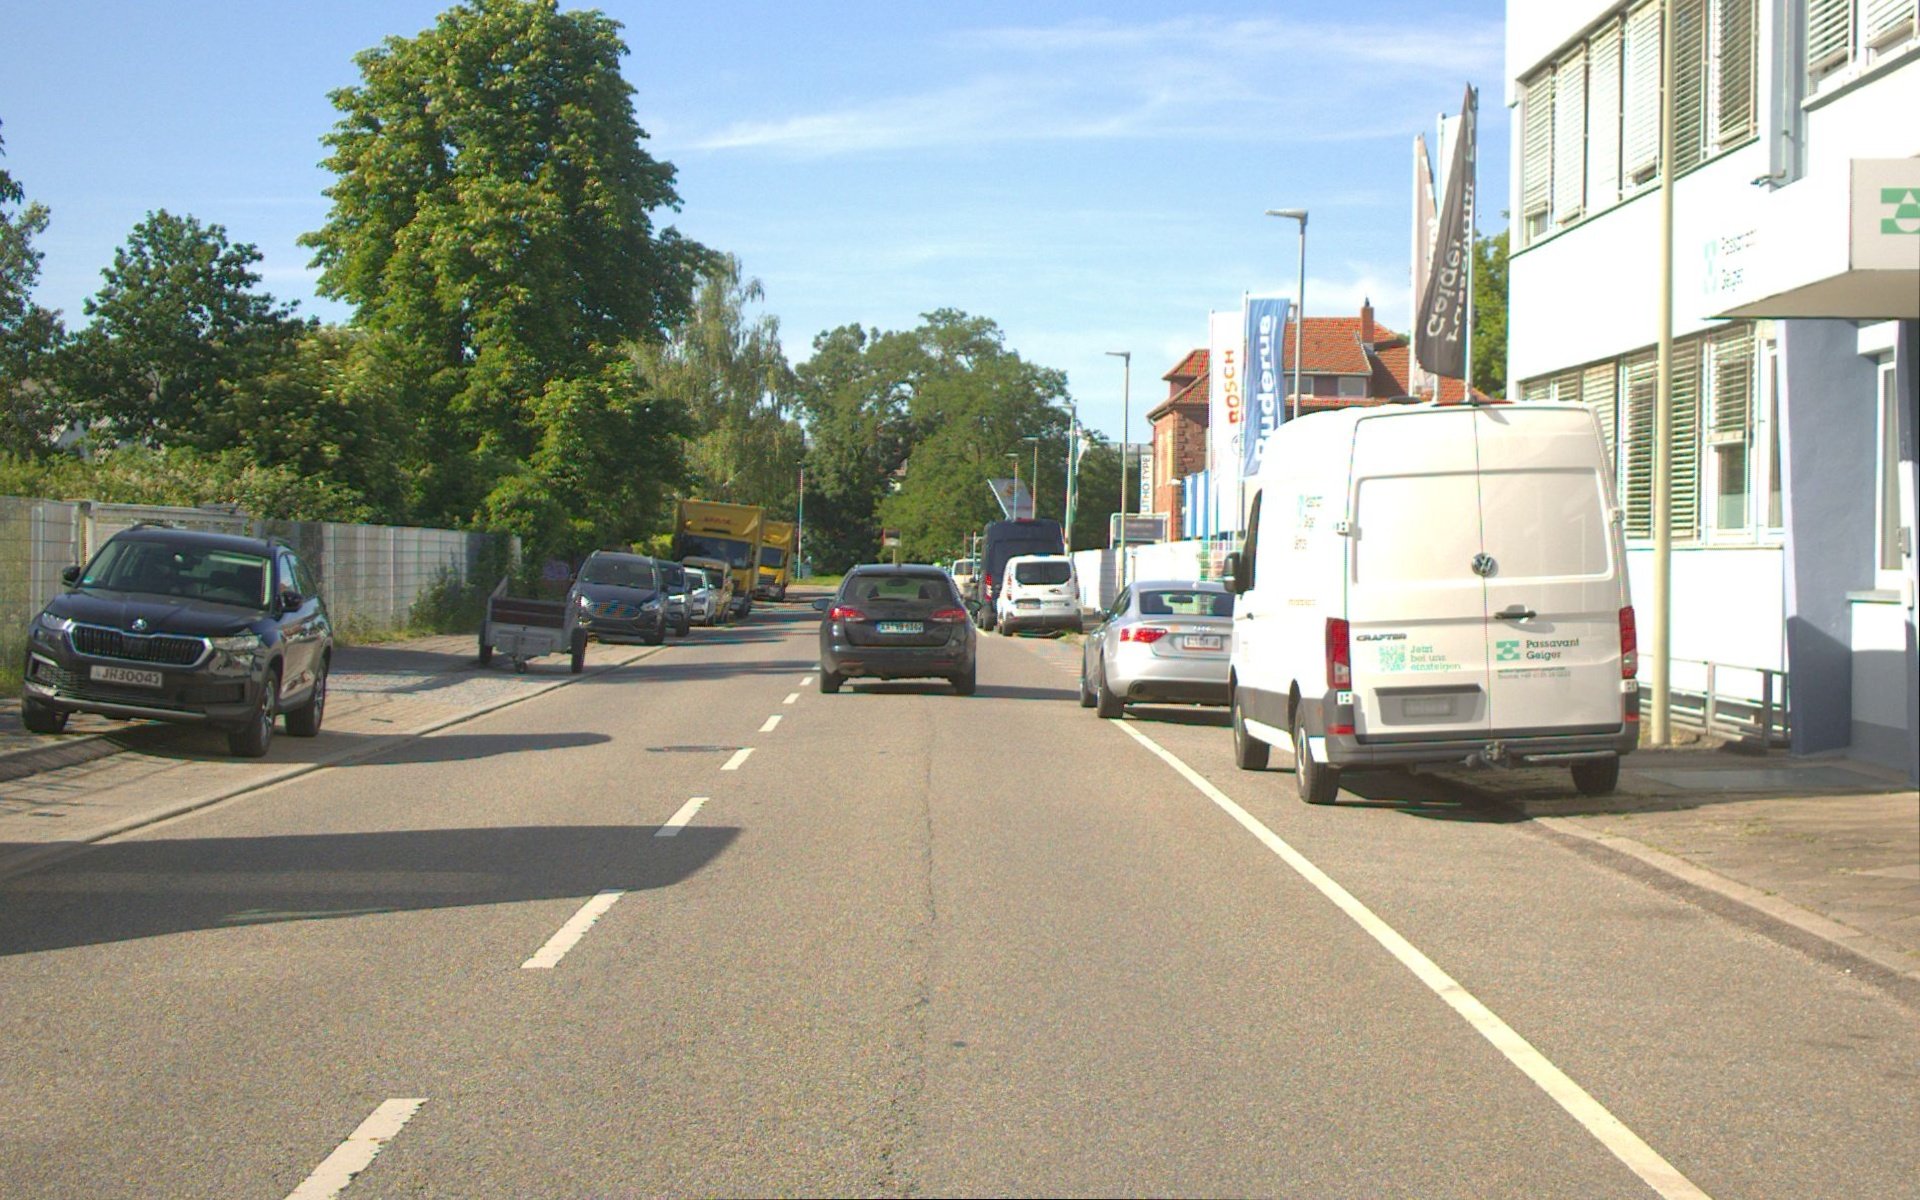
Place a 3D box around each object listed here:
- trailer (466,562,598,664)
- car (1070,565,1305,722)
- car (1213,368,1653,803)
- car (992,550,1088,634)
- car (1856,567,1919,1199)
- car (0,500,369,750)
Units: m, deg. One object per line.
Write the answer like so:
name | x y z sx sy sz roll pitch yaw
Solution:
trailer | -6.103 0.167 49.277 1.476 1.349 3.079 3 0 -1
car | 2.231 0.400 35.032 1.894 1.400 5.124 3 0 -1
car | 3.070 -0.173 23.682 1.993 2.589 6.052 -1 2 -2
car | 1.814 -0.179 79.380 1.885 1.791 5.104 3 0 -2
car | 3.082 0.759 5.341 1.889 1.555 5.091 1 1 -2
car | -6.254 0.145 28.045 2.030 1.688 5.107 5 1 -2
